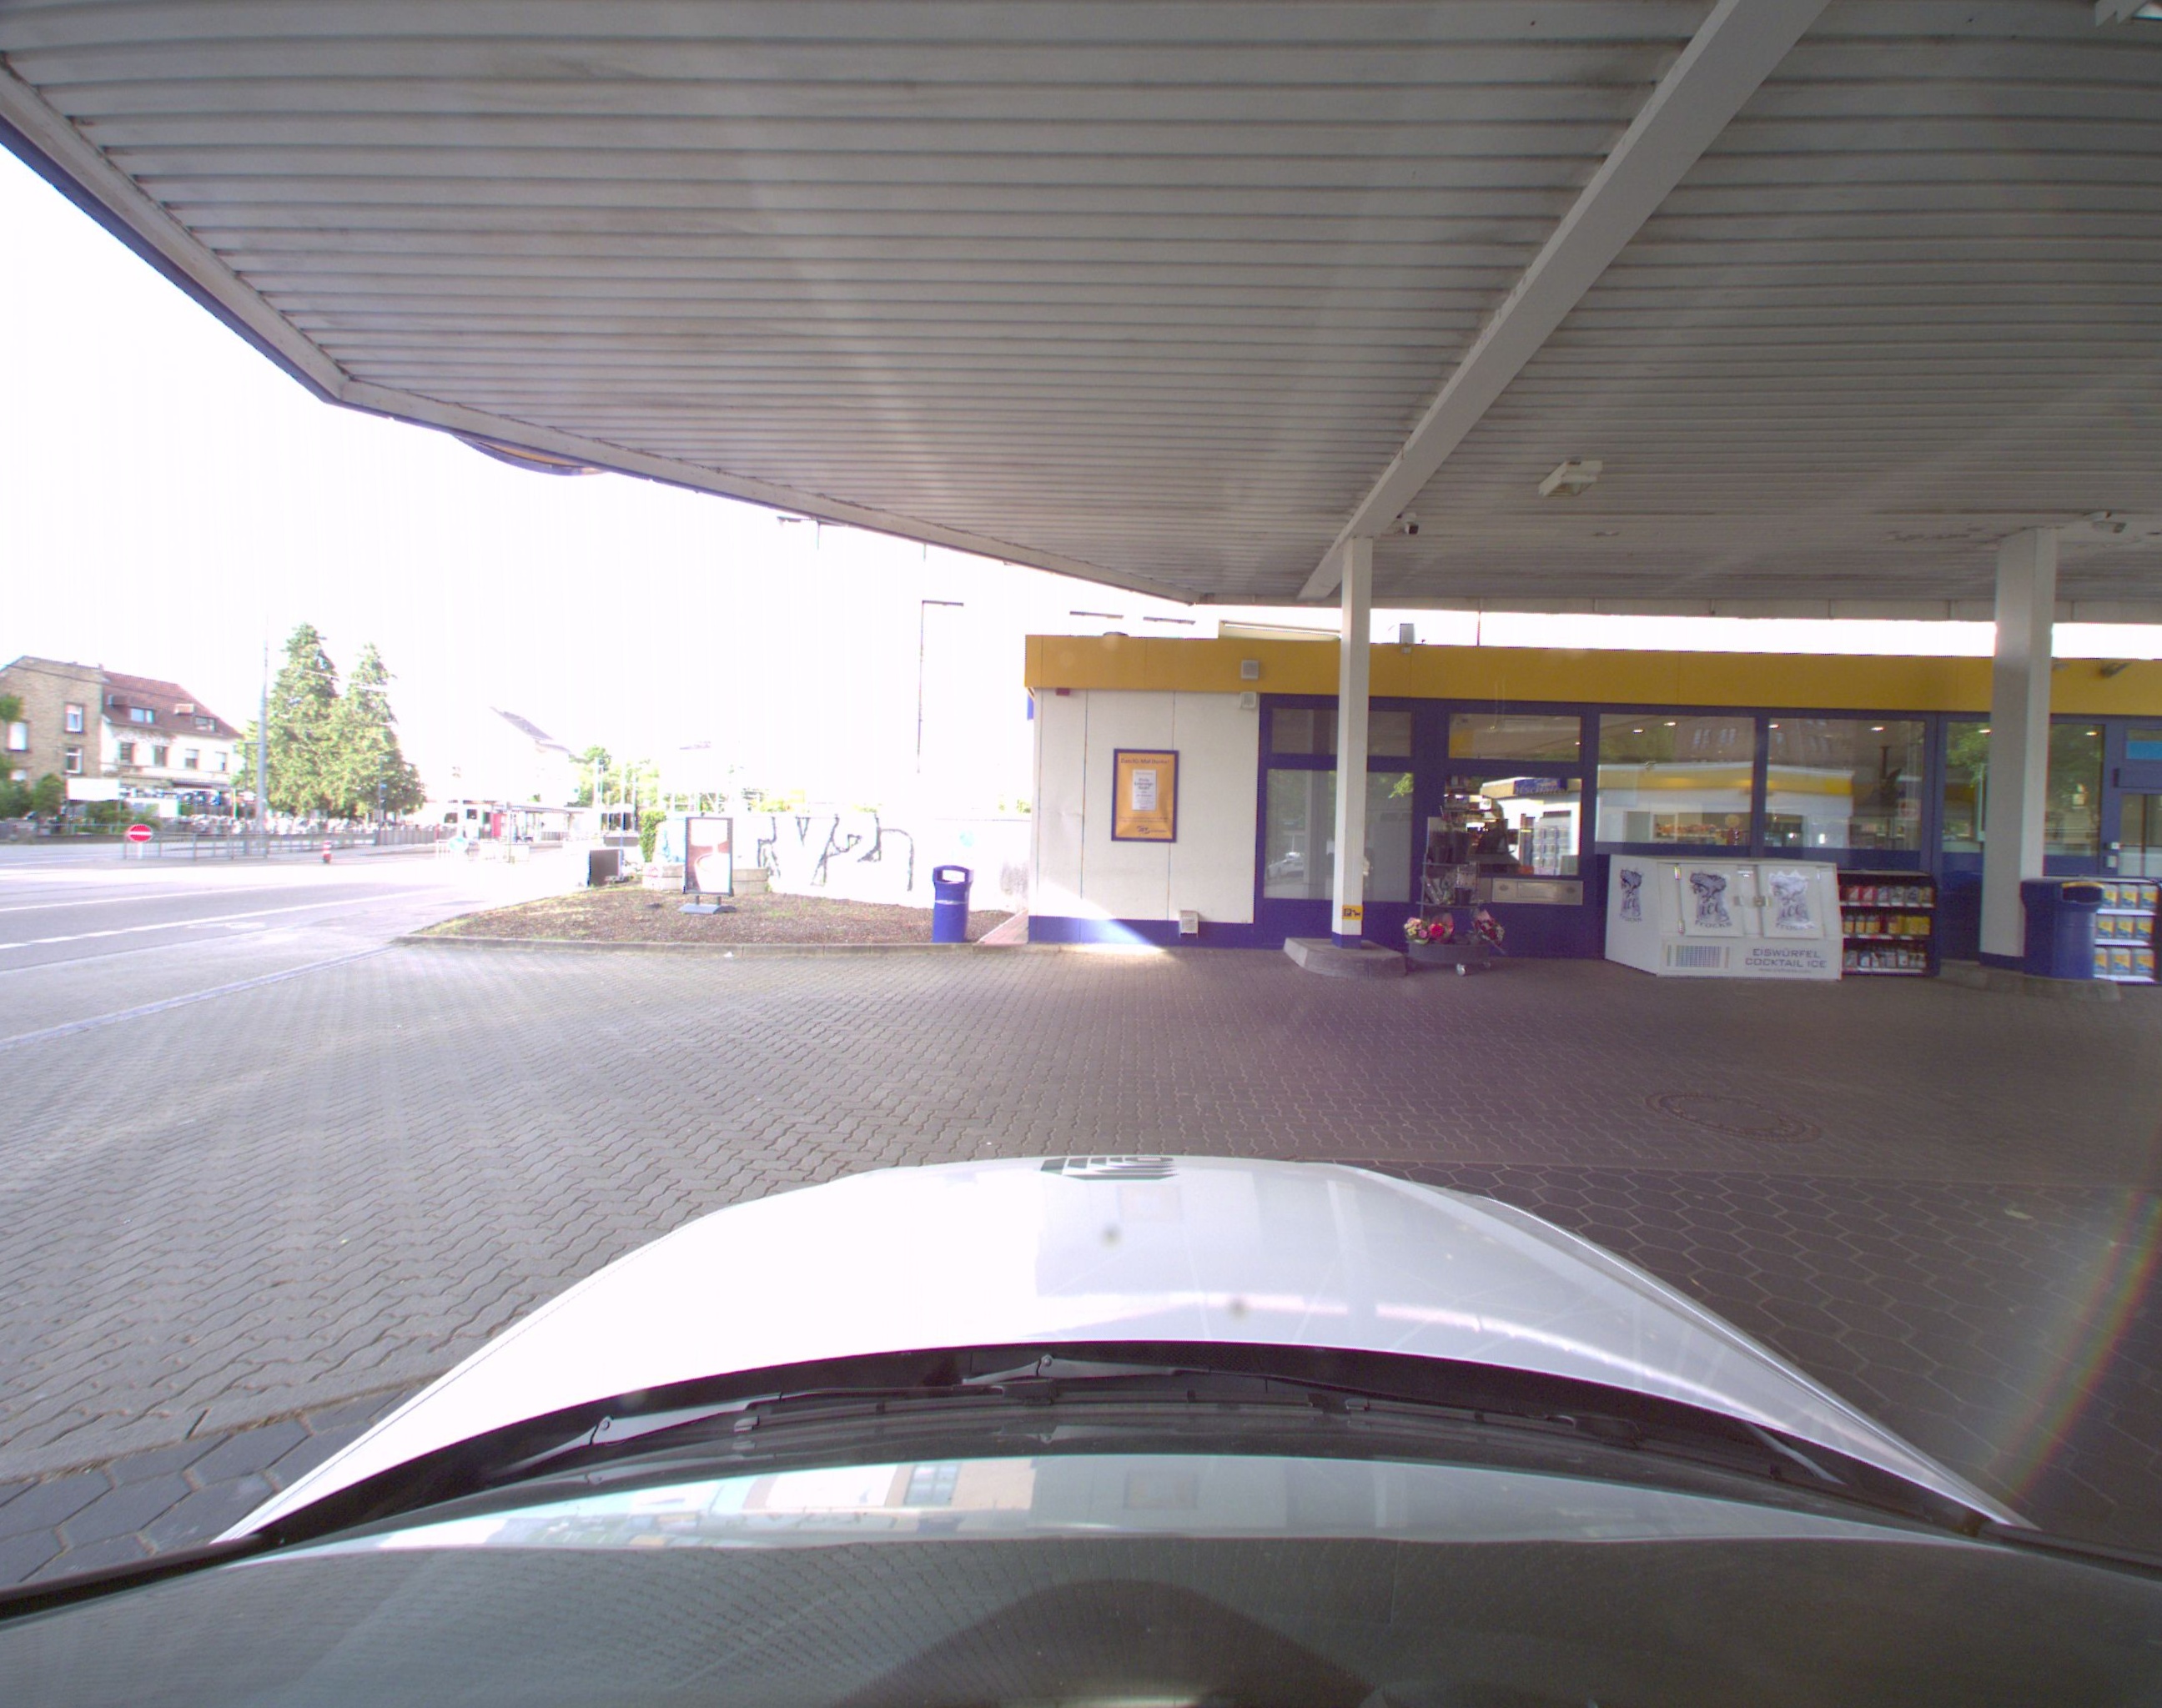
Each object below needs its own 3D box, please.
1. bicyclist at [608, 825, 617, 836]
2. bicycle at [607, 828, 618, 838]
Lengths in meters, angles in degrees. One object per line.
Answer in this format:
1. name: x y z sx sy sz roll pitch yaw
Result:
1. bicyclist: -59.637 -2.958 103.686 0.751 1.409 0.916 1 1 -17
2. bicycle: -59.651 -2.668 103.693 0.751 1.203 1.811 -1 2 -16
